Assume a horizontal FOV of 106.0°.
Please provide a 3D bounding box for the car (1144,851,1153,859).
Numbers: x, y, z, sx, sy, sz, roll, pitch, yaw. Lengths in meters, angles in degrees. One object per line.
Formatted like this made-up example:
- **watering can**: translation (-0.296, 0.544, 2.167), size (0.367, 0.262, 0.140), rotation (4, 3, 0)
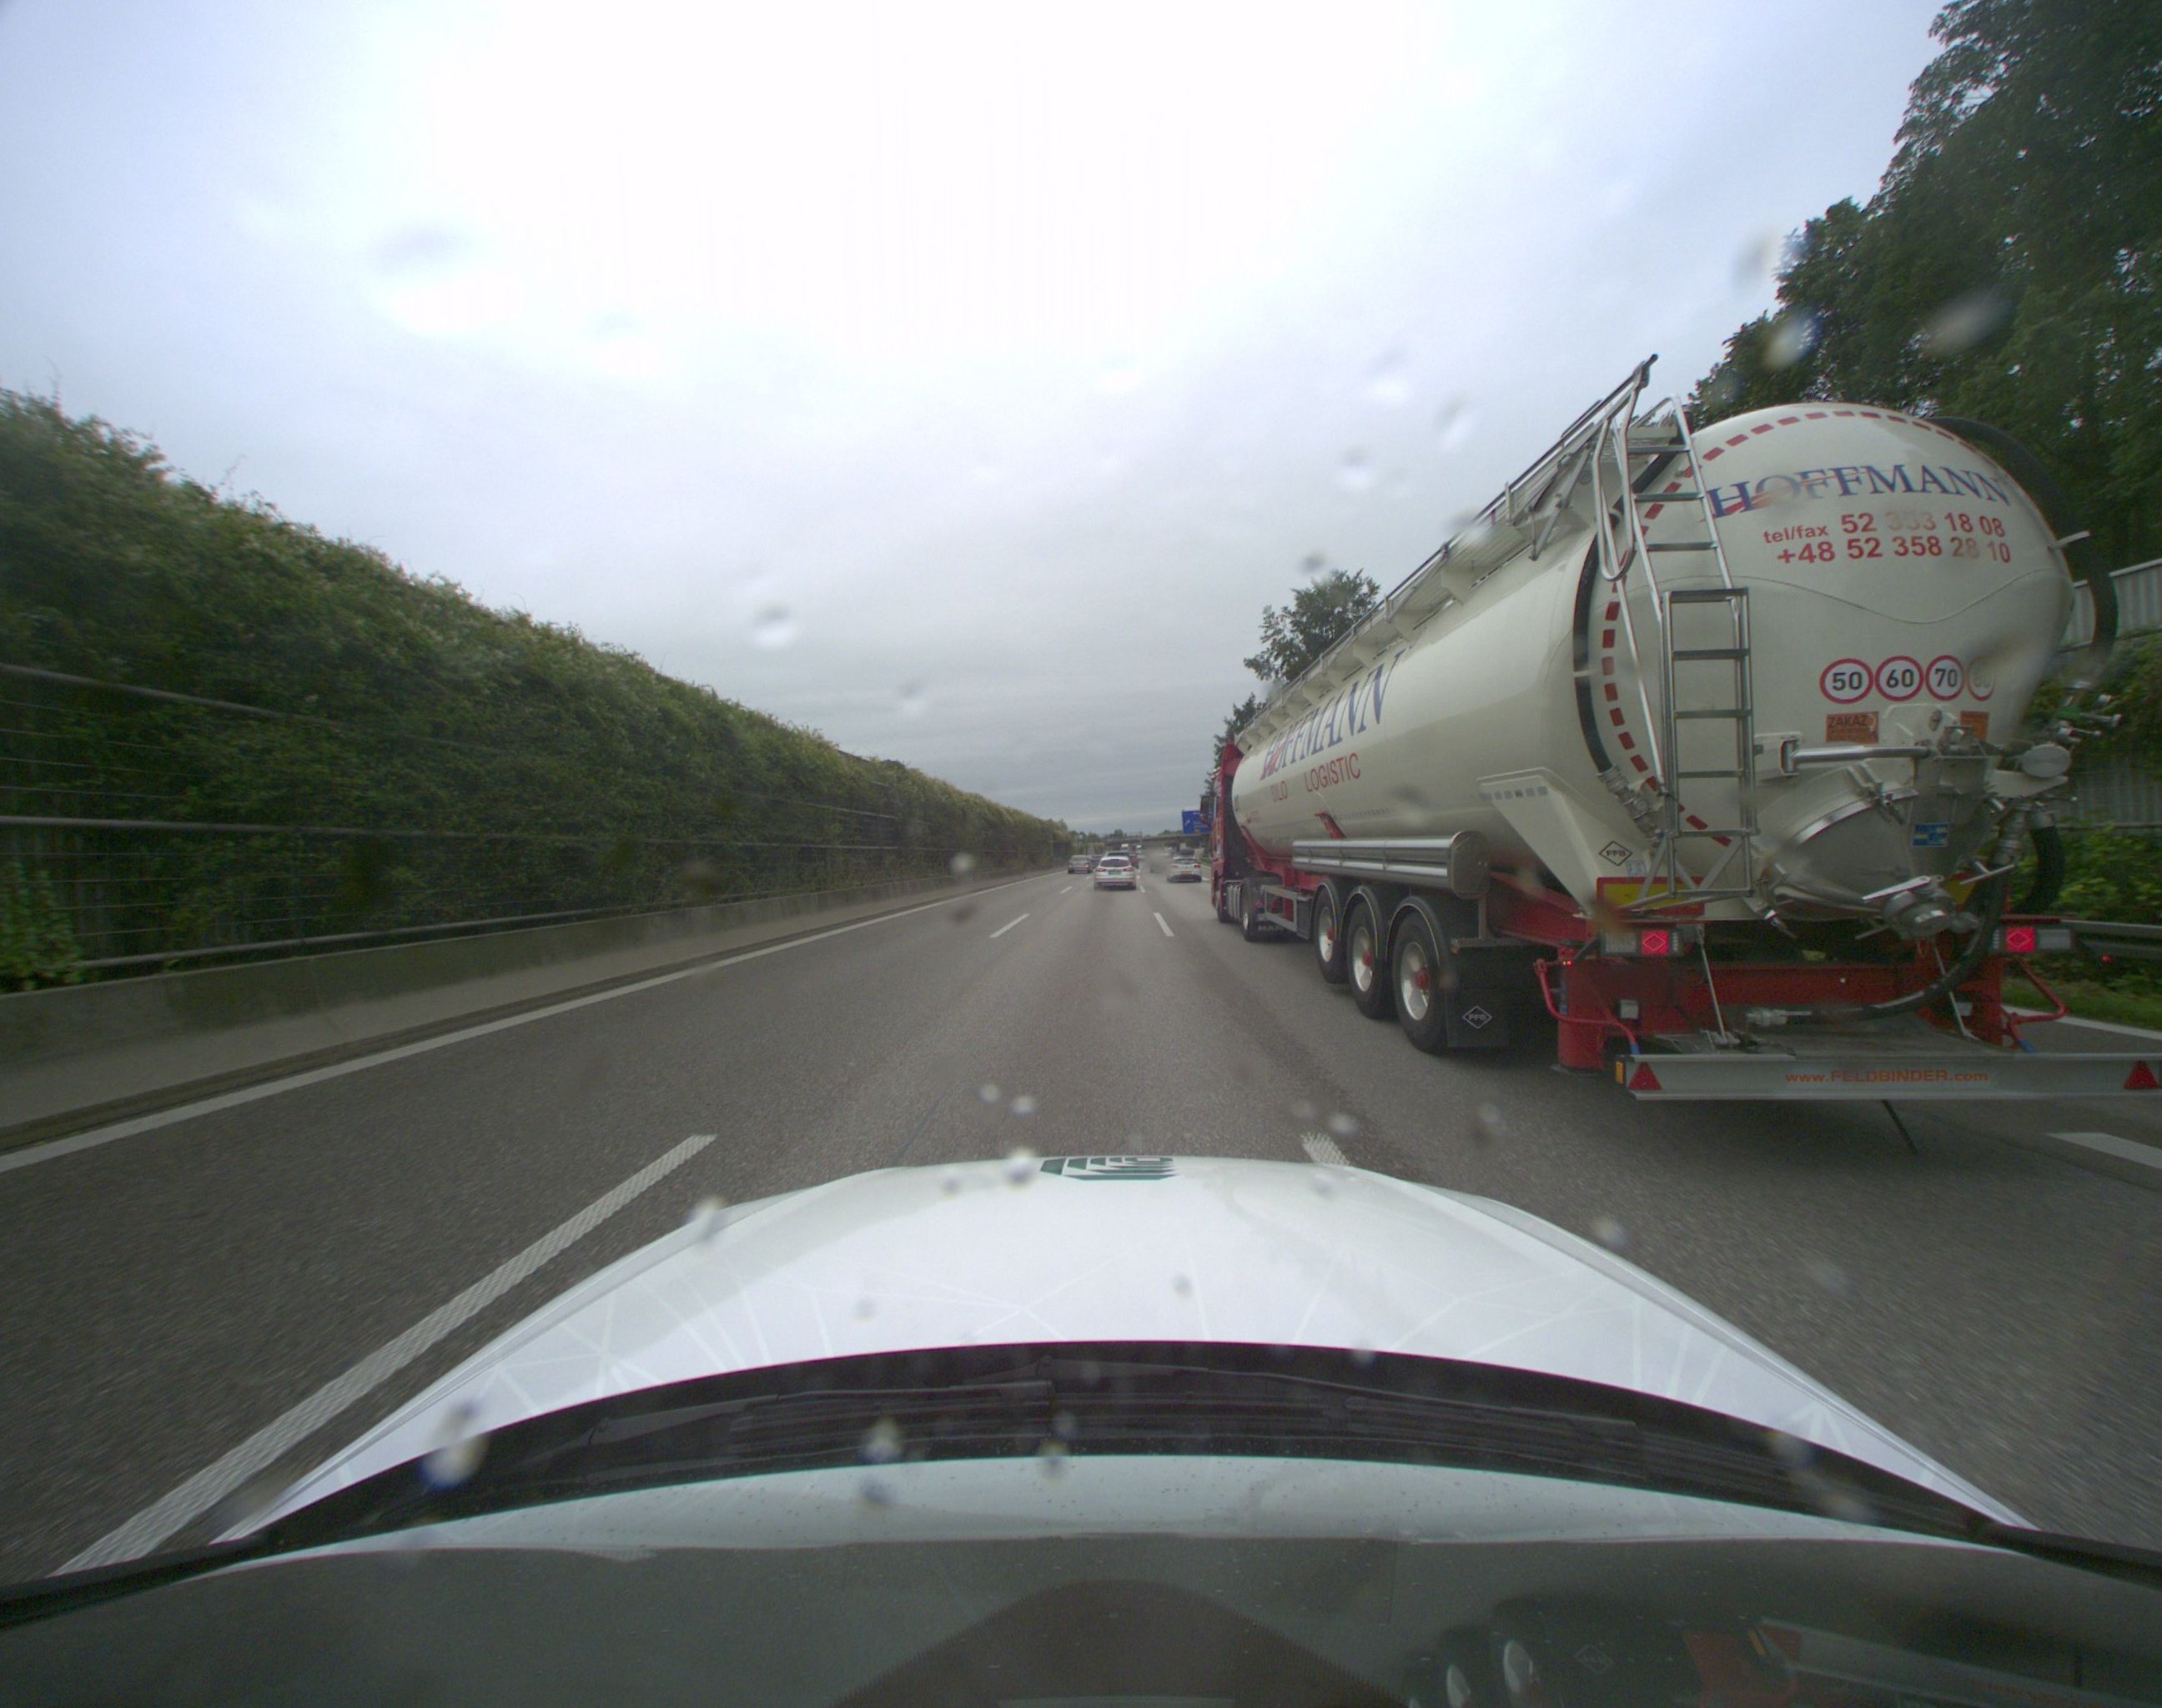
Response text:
- **car**: translation (14.320, 0.245, 171.969), size (1.682, 1.539, 3.874), rotation (-2, 0, 2)

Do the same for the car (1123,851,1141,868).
- **car**: translation (5.146, 0.535, 82.048), size (1.681, 1.506, 3.876), rotation (2, 1, 4)

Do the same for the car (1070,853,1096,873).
- **car**: translation (0.187, 0.783, 67.239), size (1.712, 1.469, 5.036), rotation (-2, -2, 5)

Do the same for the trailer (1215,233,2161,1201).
- **trailer**: translation (3.886, -0.557, 9.922), size (2.658, 3.939, 13.135), rotation (-2, 0, 2)

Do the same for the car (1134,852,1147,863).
- **car**: translation (10.233, 0.624, 139.323), size (1.778, 1.779, 3.882), rotation (-3, -1, 10)

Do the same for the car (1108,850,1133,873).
- **car**: translation (2.921, 0.540, 60.731), size (1.682, 1.506, 3.873), rotation (2, 1, 2)

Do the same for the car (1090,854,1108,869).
- **car**: translation (2.034, 0.803, 90.211), size (1.712, 1.512, 5.035), rotation (-2, 0, 4)

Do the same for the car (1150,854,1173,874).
- **car**: translation (6.339, 0.771, 64.408), size (1.681, 1.506, 3.876), rotation (-2, -1, 5)

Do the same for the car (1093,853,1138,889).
- **car**: translation (1.505, 0.726, 36.798), size (1.885, 1.504, 5.031), rotation (0, 0, 1)

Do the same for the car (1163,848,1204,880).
- **car**: translation (5.547, 0.524, 44.576), size (1.809, 1.625, 5.033), rotation (0, 0, 3)

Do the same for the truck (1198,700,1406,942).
- **truck**: translation (4.114, -0.509, 16.713), size (2.684, 3.912, 6.561), rotation (-2, -1, 3)

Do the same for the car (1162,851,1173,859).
- **car**: translation (16.037, 0.188, 151.304), size (1.678, 1.539, 3.883), rotation (-2, 0, 10)
